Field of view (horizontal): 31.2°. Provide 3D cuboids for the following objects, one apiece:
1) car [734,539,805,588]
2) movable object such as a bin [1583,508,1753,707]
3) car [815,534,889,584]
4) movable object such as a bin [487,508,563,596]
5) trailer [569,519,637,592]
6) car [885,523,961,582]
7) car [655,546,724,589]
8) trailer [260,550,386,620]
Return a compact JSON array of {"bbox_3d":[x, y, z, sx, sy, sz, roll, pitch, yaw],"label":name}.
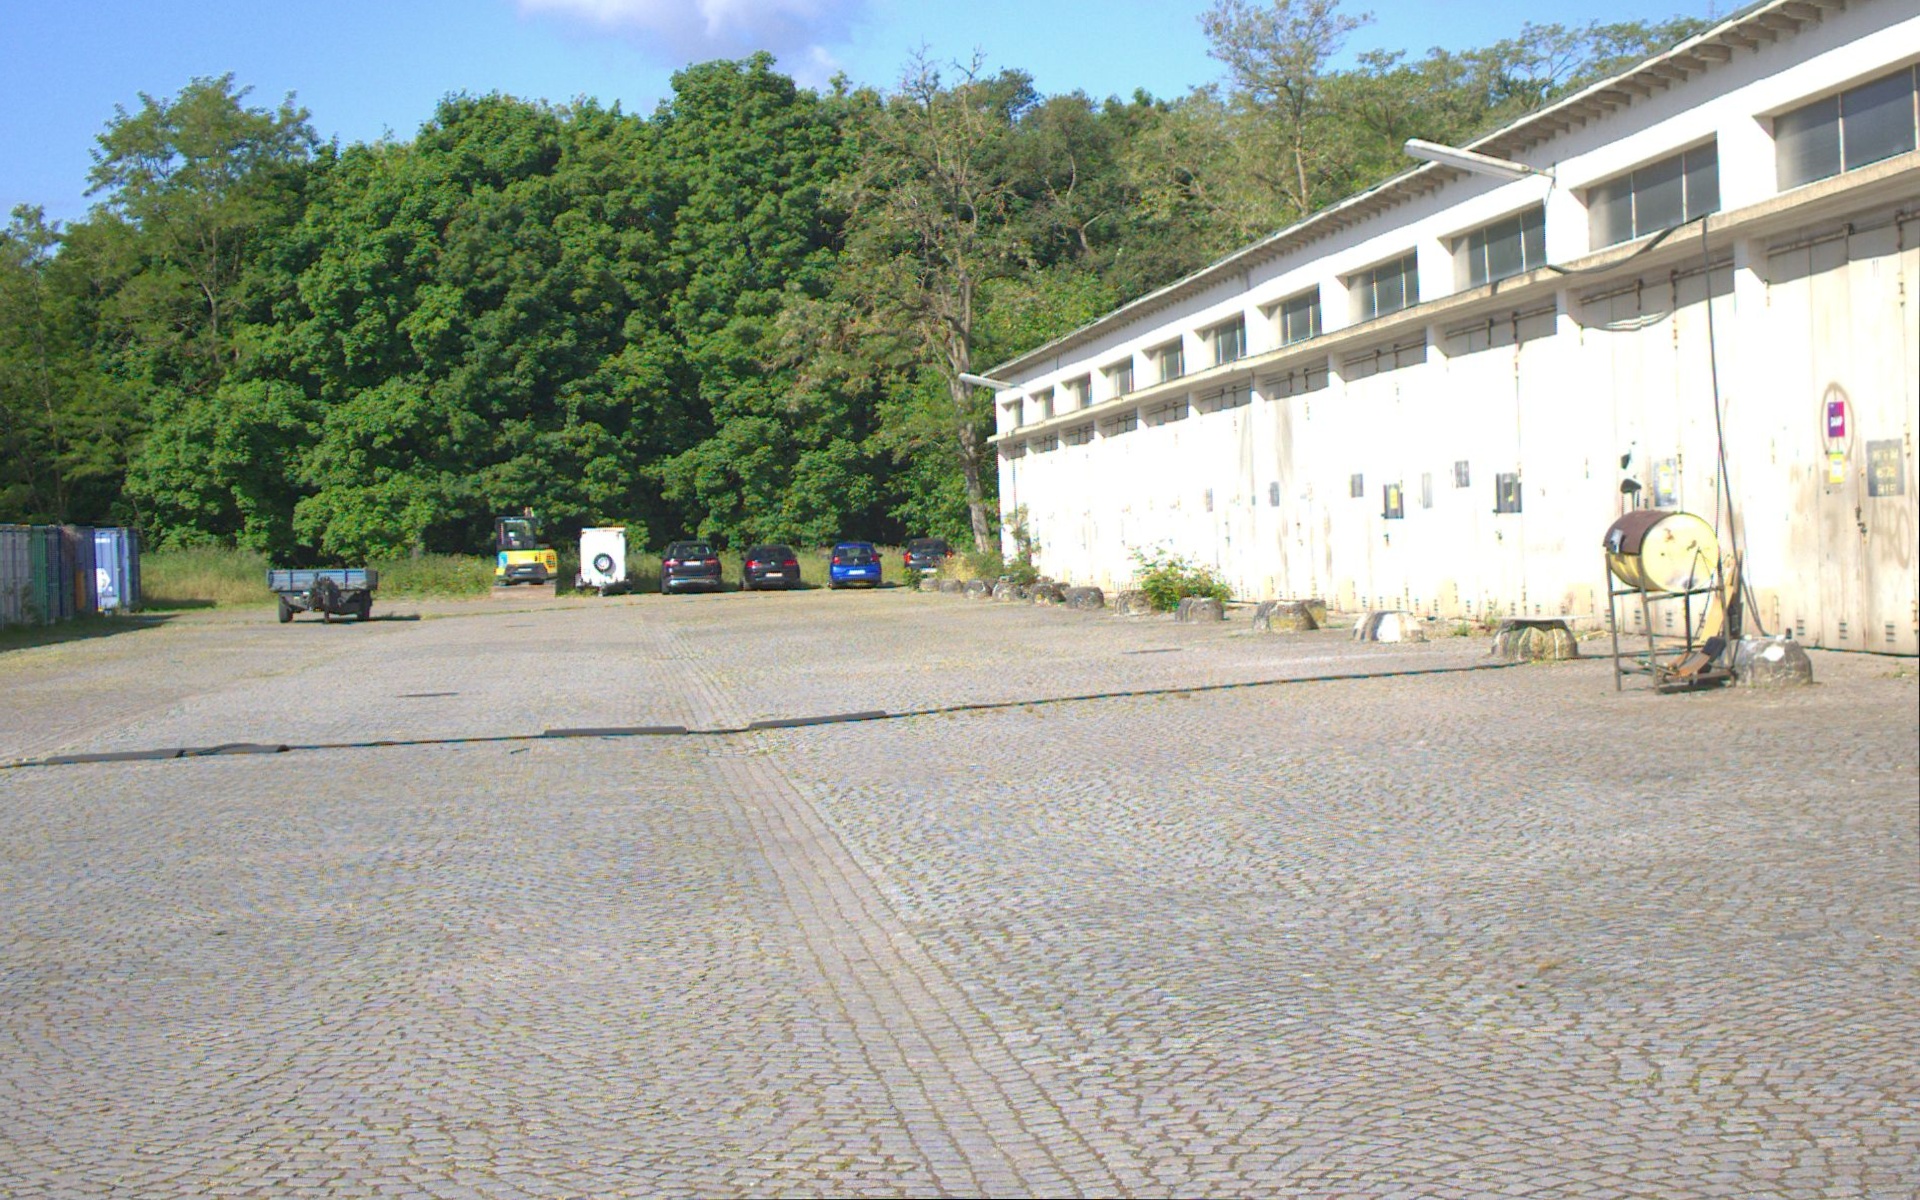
[{"bbox_3d":[-6.009,-1.155,108.121,1.993,1.419,4.001,-2,1,-6],"label":"car"},{"bbox_3d":[5.185,0.043,25.243,0.875,1.396,1.102,-2,1,-7],"label":"movable object such as a bin"},{"bbox_3d":[-3.431,-1.295,108.355,1.993,1.461,4.001,-2,1,-6],"label":"car"},{"bbox_3d":[-13.821,-1.539,108.995,2.231,2.648,4.001,-2,1,-8],"label":"movable object such as a bin"},{"bbox_3d":[-11.285,-1.412,108.478,1.993,2.155,4.433,-2,1,-6],"label":"trailer"},{"bbox_3d":[-1.213,-1.527,109.814,1.993,1.766,4.001,-2,1,-6],"label":"car"},{"bbox_3d":[-8.485,-1.024,107.511,1.993,1.254,4.001,-2,1,-6],"label":"car"},{"bbox_3d":[-16.493,-0.410,89.348,2.791,1.640,5.622,-2,1,-7],"label":"trailer"}]
